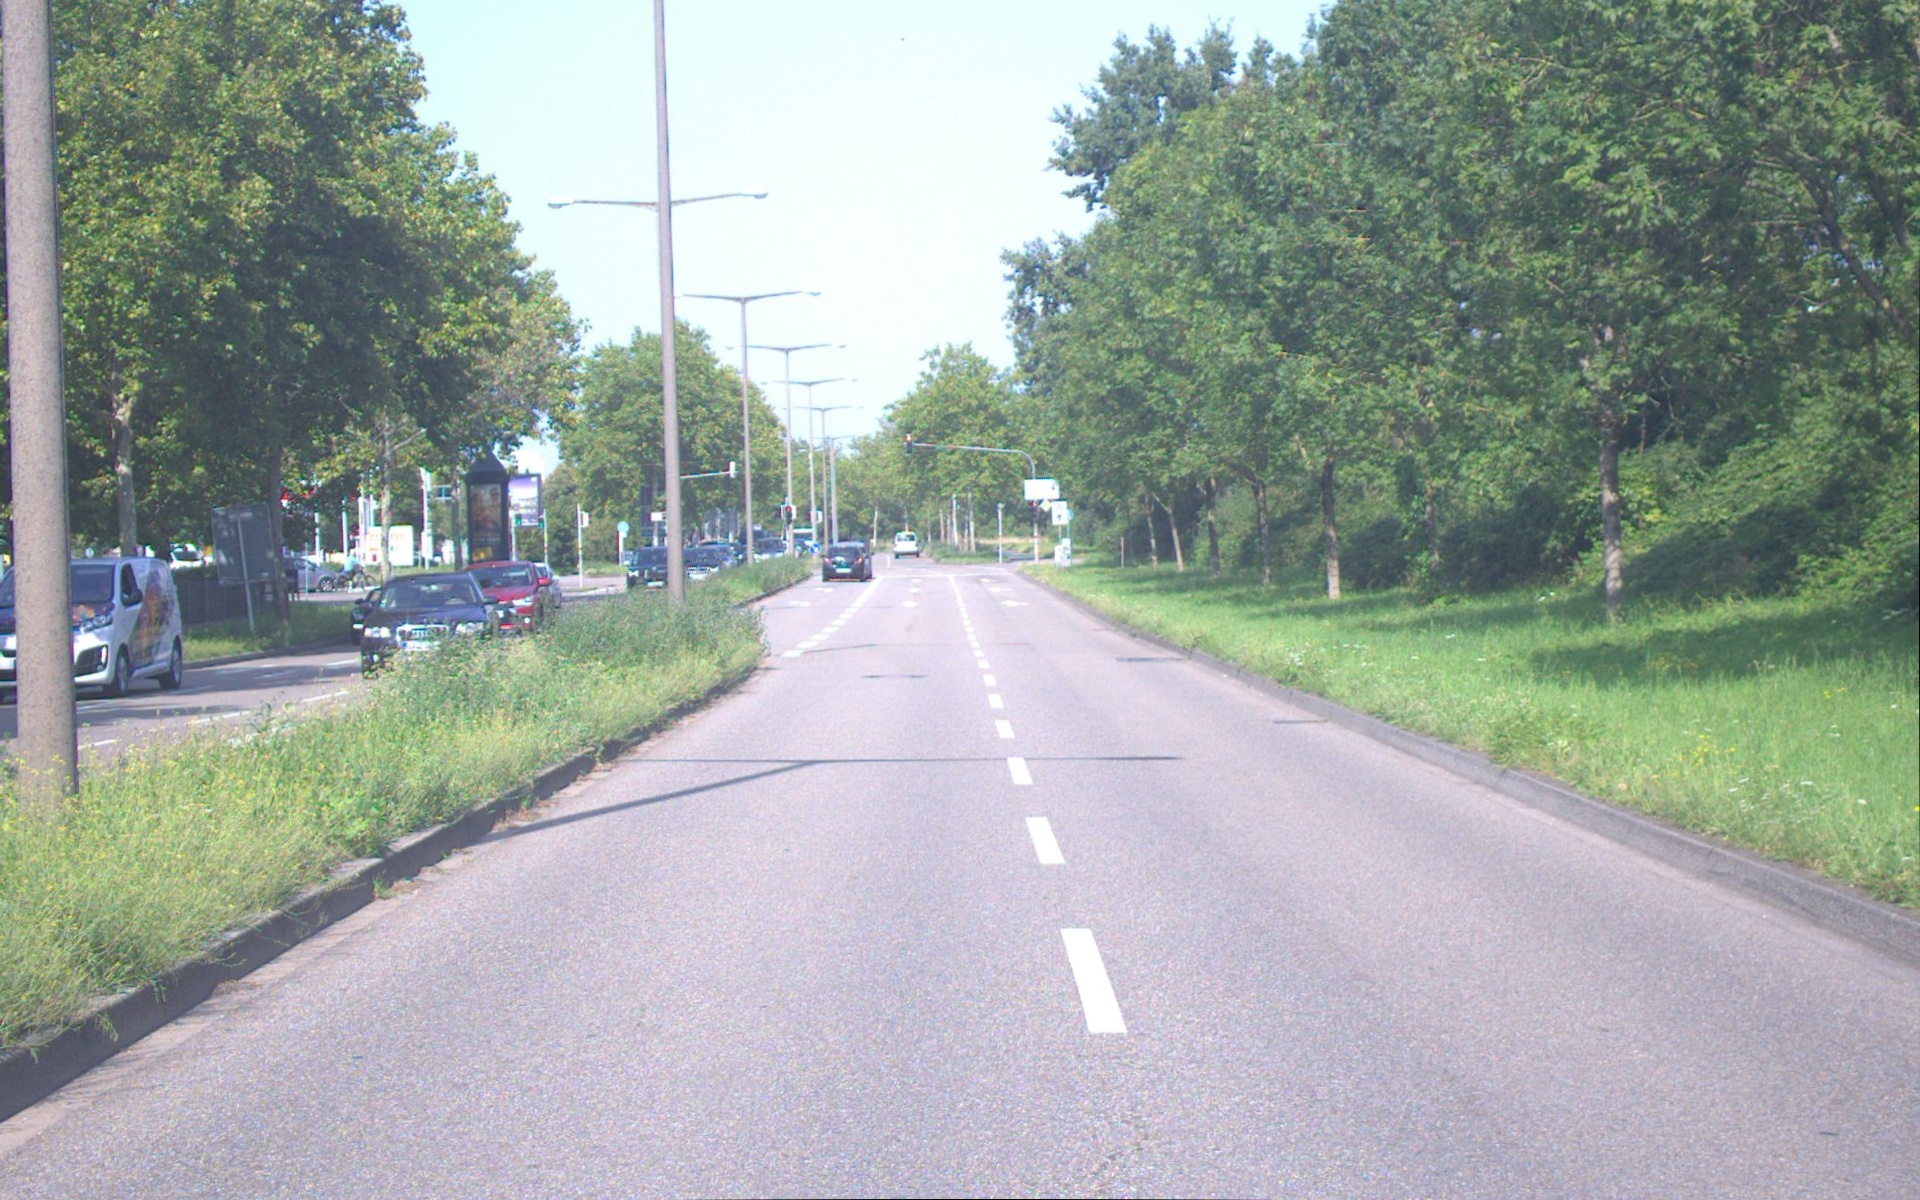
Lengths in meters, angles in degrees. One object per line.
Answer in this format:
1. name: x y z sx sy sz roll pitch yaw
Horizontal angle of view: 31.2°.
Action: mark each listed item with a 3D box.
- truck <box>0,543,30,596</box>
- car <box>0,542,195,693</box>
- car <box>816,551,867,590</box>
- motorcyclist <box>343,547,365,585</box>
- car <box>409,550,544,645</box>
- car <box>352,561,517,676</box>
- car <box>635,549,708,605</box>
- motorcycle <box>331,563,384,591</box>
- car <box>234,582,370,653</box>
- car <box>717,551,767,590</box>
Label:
1. truck: -57.622 -1.576 194.278 8.987 2.947 3.514 -3 1 -36
2. car: -11.908 0.217 46.368 1.984 1.852 4.969 -3 1 0
3. car: -4.716 -1.184 137.560 1.692 1.481 4.000 -1 1 3
4. motorcyclist: -25.262 -1.402 143.285 0.681 1.566 0.683 -1 1 -36
5. car: -9.351 -0.078 66.784 1.954 1.718 4.587 -2 1 0
6. car: -7.505 0.231 49.467 1.746 1.474 4.587 -3 1 -2
7. car: -9.543 -0.779 114.017 1.993 1.753 4.477 -1 1 0
8. motorcycle: -25.127 -0.958 143.373 2.069 1.132 0.677 -1 0 -36
9. car: -13.147 0.337 68.925 1.791 1.258 4.095 -3 1 2
10. car: -9.110 -1.226 143.762 1.879 1.588 4.108 0 0 -1
